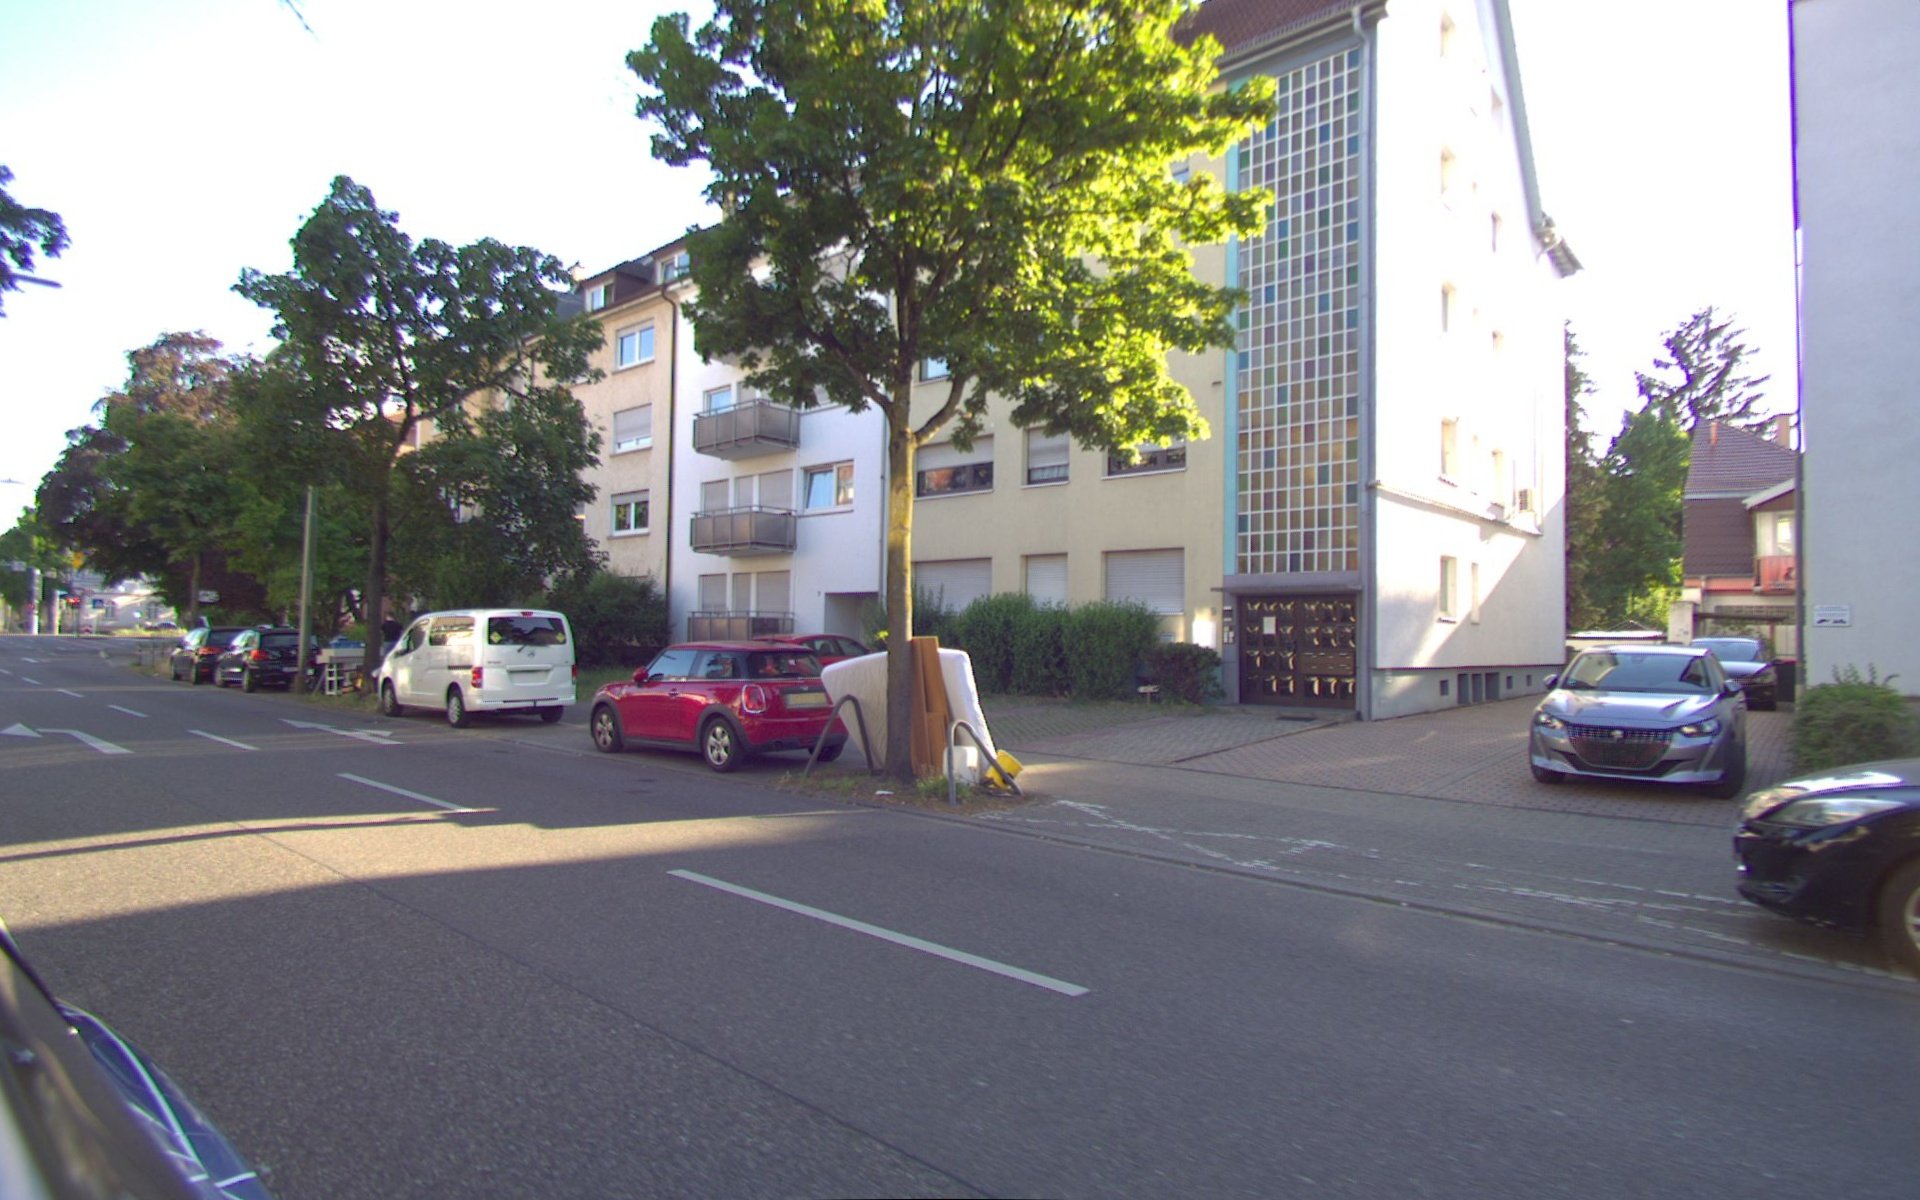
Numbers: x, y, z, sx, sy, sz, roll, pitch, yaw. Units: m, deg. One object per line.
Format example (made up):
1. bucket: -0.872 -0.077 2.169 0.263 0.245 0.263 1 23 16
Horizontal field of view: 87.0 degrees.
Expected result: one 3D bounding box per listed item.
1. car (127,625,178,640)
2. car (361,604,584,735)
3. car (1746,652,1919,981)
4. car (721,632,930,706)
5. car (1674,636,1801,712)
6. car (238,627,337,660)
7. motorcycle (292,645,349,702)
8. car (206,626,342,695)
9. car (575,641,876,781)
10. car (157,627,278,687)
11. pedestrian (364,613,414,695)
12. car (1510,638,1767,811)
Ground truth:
1. car: -81.486 3.285 102.135 1.996 1.457 3.602 -1 -3 36
2. car: -8.310 1.101 17.071 4.457 1.934 1.751 -2 -3 41
3. car: 6.123 1.001 4.336 4.245 1.509 1.699 -2 -3 41
4. car: -2.645 1.383 21.176 1.991 1.373 4.681 -1 -3 28
5. car: 17.072 1.540 22.163 1.808 1.490 3.943 -2 -2 43
6. car: -31.647 2.046 47.676 1.812 1.497 3.464 -1 -3 37
7. motorcycle: -13.994 1.589 22.179 0.434 1.201 1.711 1 -3 -12
8. car: -16.522 1.405 24.317 3.976 1.514 1.732 -2 -3 41
9. car: -2.950 1.232 12.384 3.784 1.432 1.699 -2 -3 41
10. car: -20.099 1.504 27.323 4.194 1.514 1.732 -2 -3 41
11. pedestrian: -14.469 1.362 25.648 0.975 2.029 0.759 -2 -3 41
12. car: 7.516 1.180 11.136 1.997 1.490 3.950 -1 -2 37
